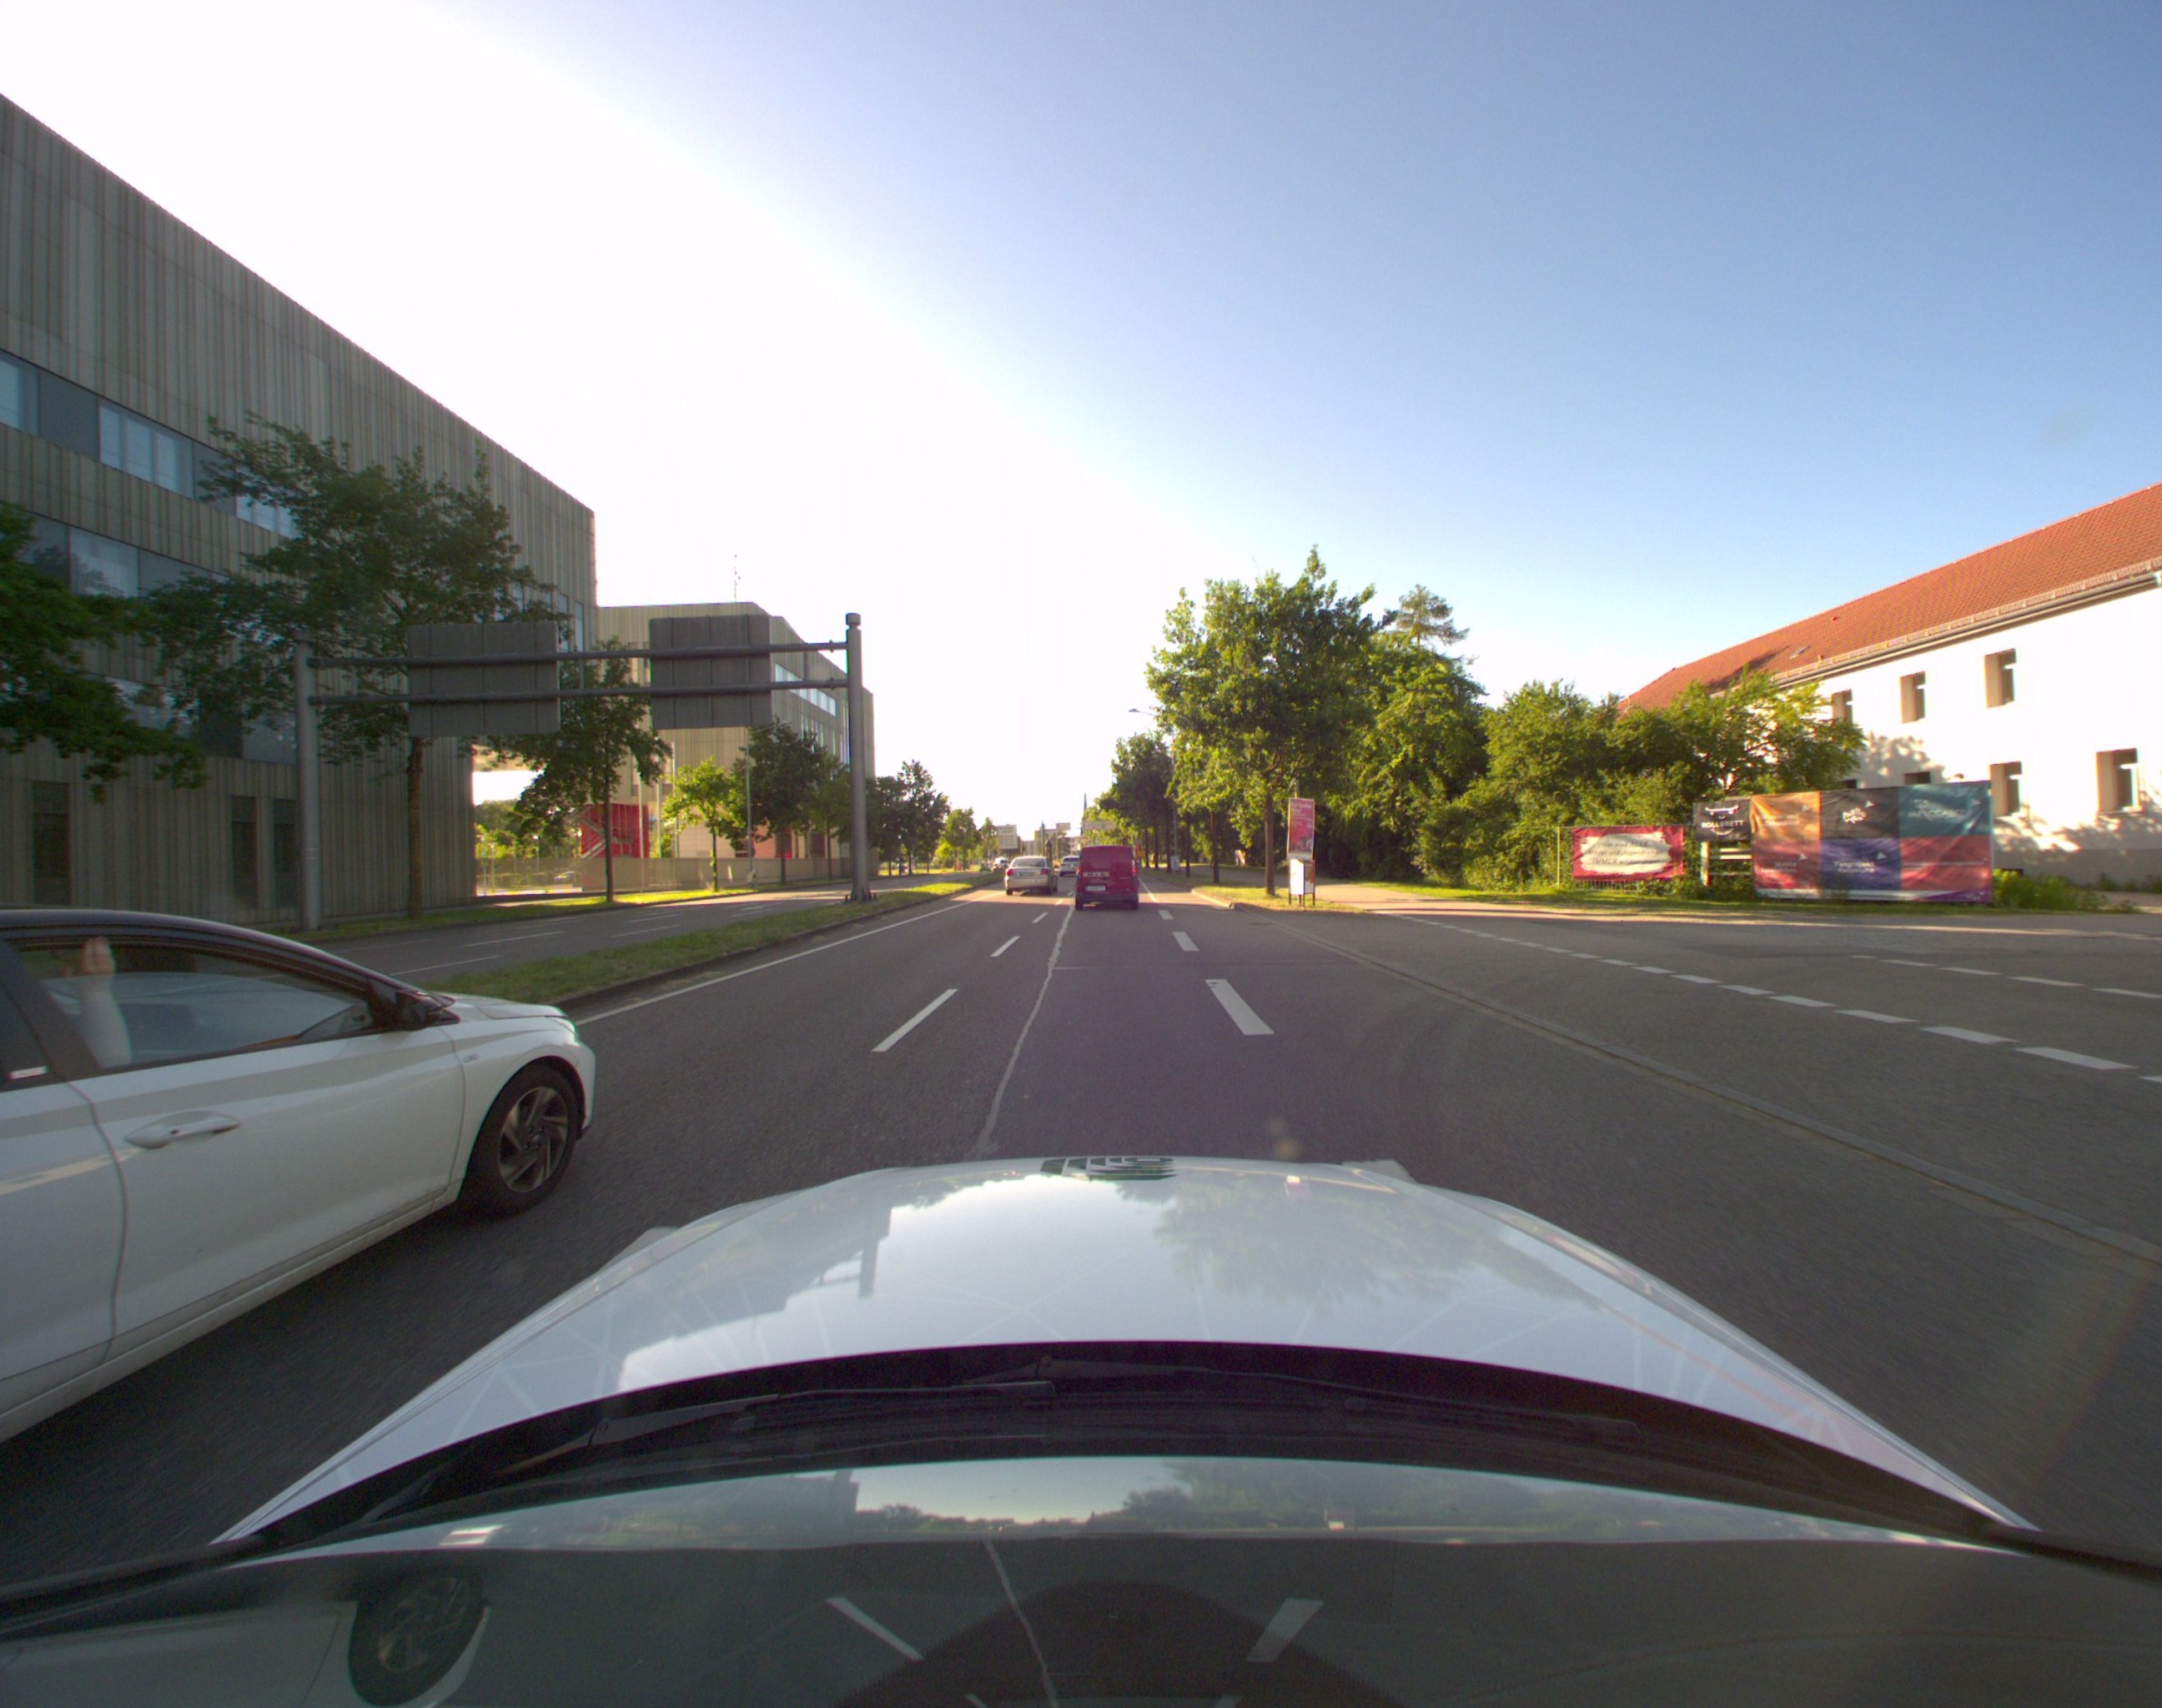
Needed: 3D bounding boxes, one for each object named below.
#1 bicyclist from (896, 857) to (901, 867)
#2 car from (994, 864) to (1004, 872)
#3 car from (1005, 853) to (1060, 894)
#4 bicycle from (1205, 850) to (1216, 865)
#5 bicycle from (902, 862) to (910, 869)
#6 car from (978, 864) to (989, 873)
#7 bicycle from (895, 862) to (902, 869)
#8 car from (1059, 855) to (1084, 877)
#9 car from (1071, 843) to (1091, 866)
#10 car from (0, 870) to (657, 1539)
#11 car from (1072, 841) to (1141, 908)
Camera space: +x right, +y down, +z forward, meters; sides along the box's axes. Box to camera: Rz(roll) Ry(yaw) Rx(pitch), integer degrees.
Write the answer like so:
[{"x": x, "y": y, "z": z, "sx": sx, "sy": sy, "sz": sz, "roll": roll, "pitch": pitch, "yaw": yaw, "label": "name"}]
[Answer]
[{"x": -25.253, "y": 1.156, "z": 112.709, "sx": 0.481, "sy": 1.395, "sz": 0.844, "roll": -2, "pitch": -1, "yaw": -1, "label": "bicyclist"}, {"x": -15.981, "y": 2.709, "z": 158.772, "sx": 1.546, "sy": 1.508, "sz": 4.025, "roll": -2, "pitch": 0, "yaw": -1, "label": "car"}, {"x": -1.829, "y": 0.715, "z": 31.833, "sx": 1.834, "sy": 1.456, "sz": 4.162, "roll": -1, "pitch": 0, "yaw": 1, "label": "car"}, {"x": 10.191, "y": 0.295, "z": 64.242, "sx": 0.769, "sy": 1.131, "sz": 1.712, "roll": -2, "pitch": 0, "yaw": 8, "label": "bicycle"}, {"x": -24.153, "y": 1.585, "z": 112.567, "sx": 0.568, "sy": 1.003, "sz": 2.095, "roll": -2, "pitch": -1, "yaw": -1, "label": "bicycle"}, {"x": -16.036, "y": 2.367, "z": 134.104, "sx": 1.442, "sy": 1.436, "sz": 3.458, "roll": -2, "pitch": 0, "yaw": -1, "label": "car"}, {"x": -25.233, "y": 1.624, "z": 112.586, "sx": 0.485, "sy": 1.003, "sz": 2.095, "roll": -2, "pitch": -1, "yaw": -1, "label": "bicycle"}, {"x": -0.633, "y": 0.828, "z": 57.590, "sx": 1.656, "sy": 1.398, "sz": 3.558, "roll": -2, "pitch": 0, "yaw": 0, "label": "car"}, {"x": 0.022, "y": 0.039, "z": 71.142, "sx": 1.656, "sy": 1.856, "sz": 3.558, "roll": -2, "pitch": 0, "yaw": 0, "label": "car"}, {"x": -3.252, "y": 0.815, "z": 2.377, "sx": 1.771, "sy": 1.409, "sz": 4.076, "roll": -1, "pitch": 0, "yaw": 1, "label": "car"}, {"x": 0.686, "y": 0.548, "z": 23.731, "sx": 1.800, "sy": 1.759, "sz": 4.005, "roll": -1, "pitch": 0, "yaw": 0, "label": "car"}]
